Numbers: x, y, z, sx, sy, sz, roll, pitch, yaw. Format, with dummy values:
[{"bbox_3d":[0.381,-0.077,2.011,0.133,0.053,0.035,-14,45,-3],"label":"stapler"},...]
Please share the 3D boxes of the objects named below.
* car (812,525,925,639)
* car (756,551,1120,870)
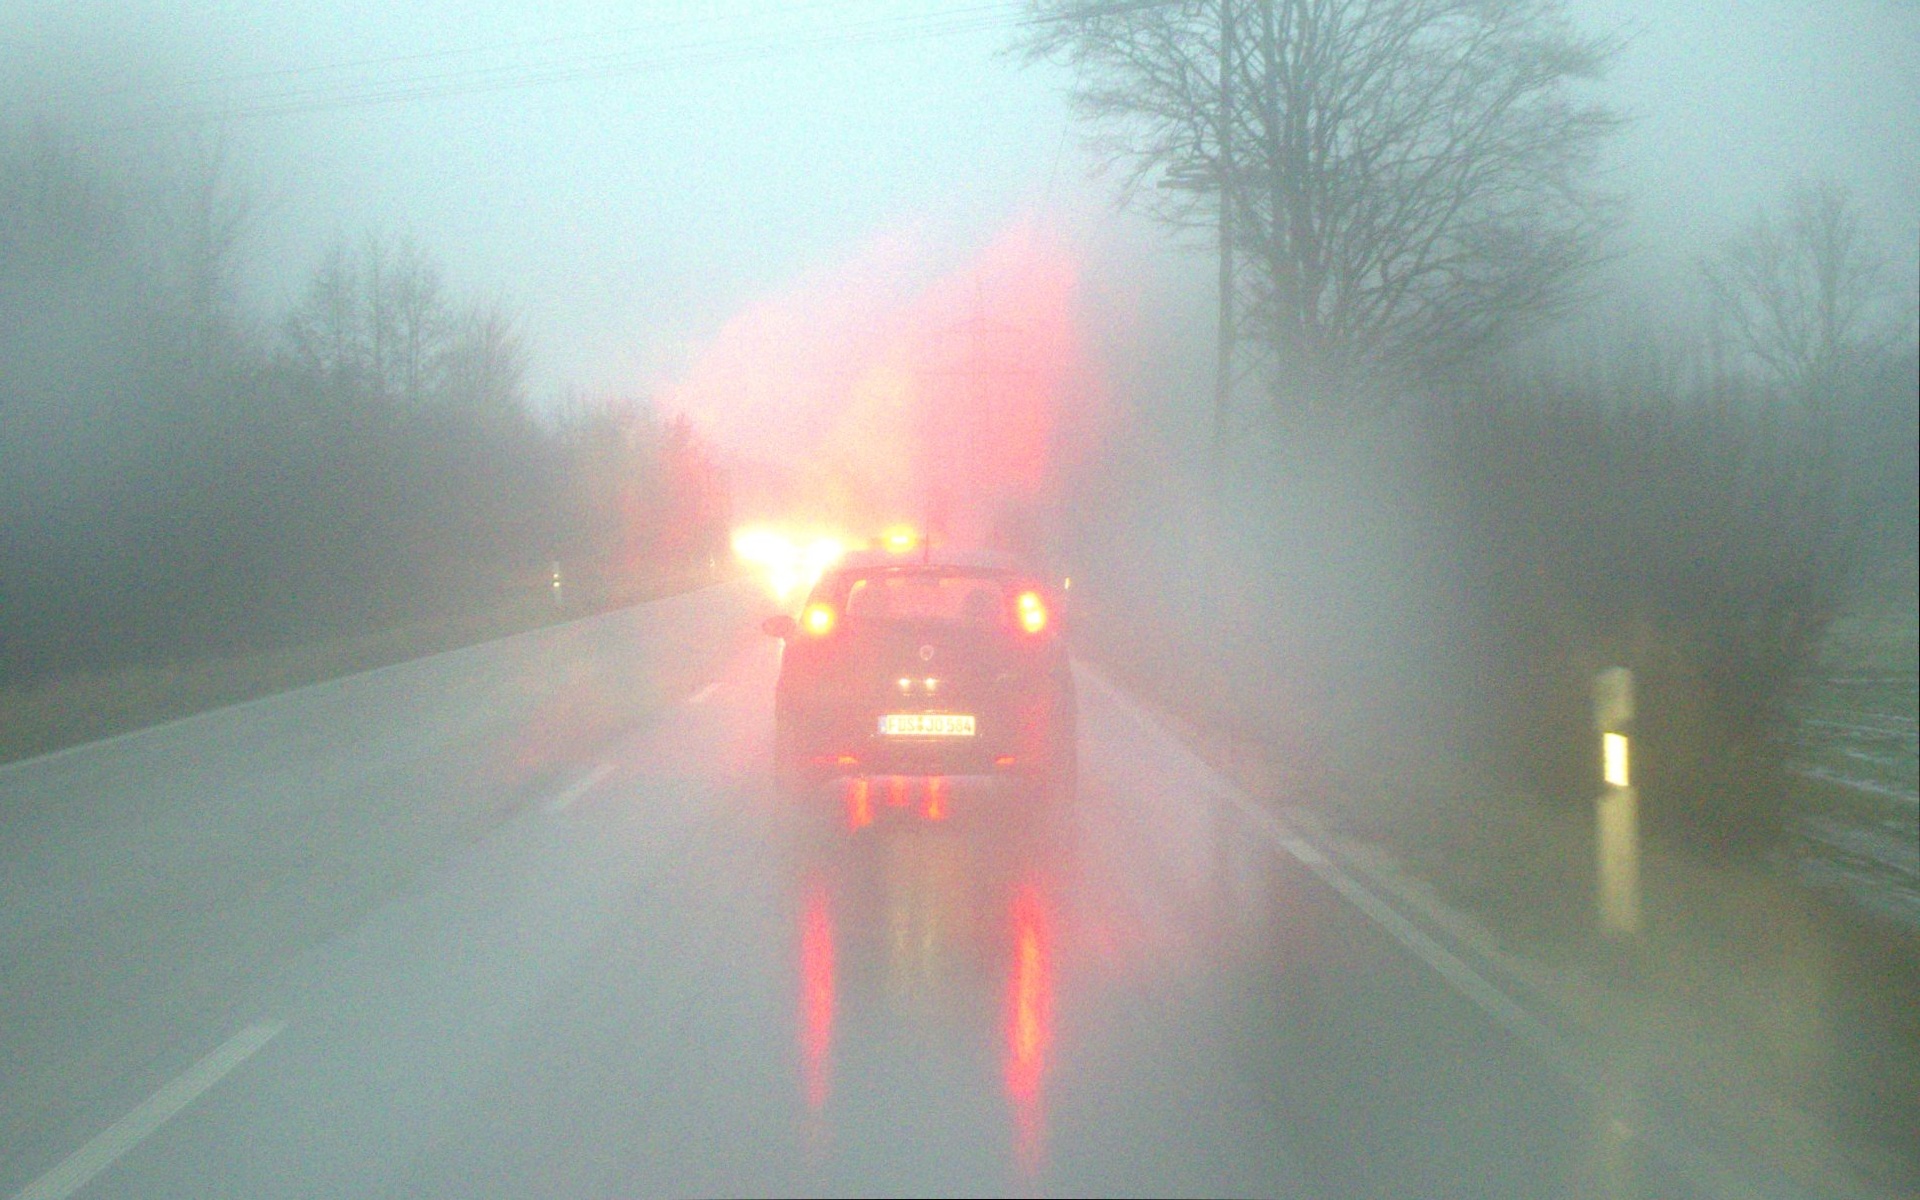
[{"bbox_3d":[-1.666,-0.354,63.859,1.993,2.007,4.000,-1,1,-1],"label":"car"},{"bbox_3d":[-0.155,0.579,20.920,1.993,1.746,4.000,0,1,-1],"label":"car"}]
